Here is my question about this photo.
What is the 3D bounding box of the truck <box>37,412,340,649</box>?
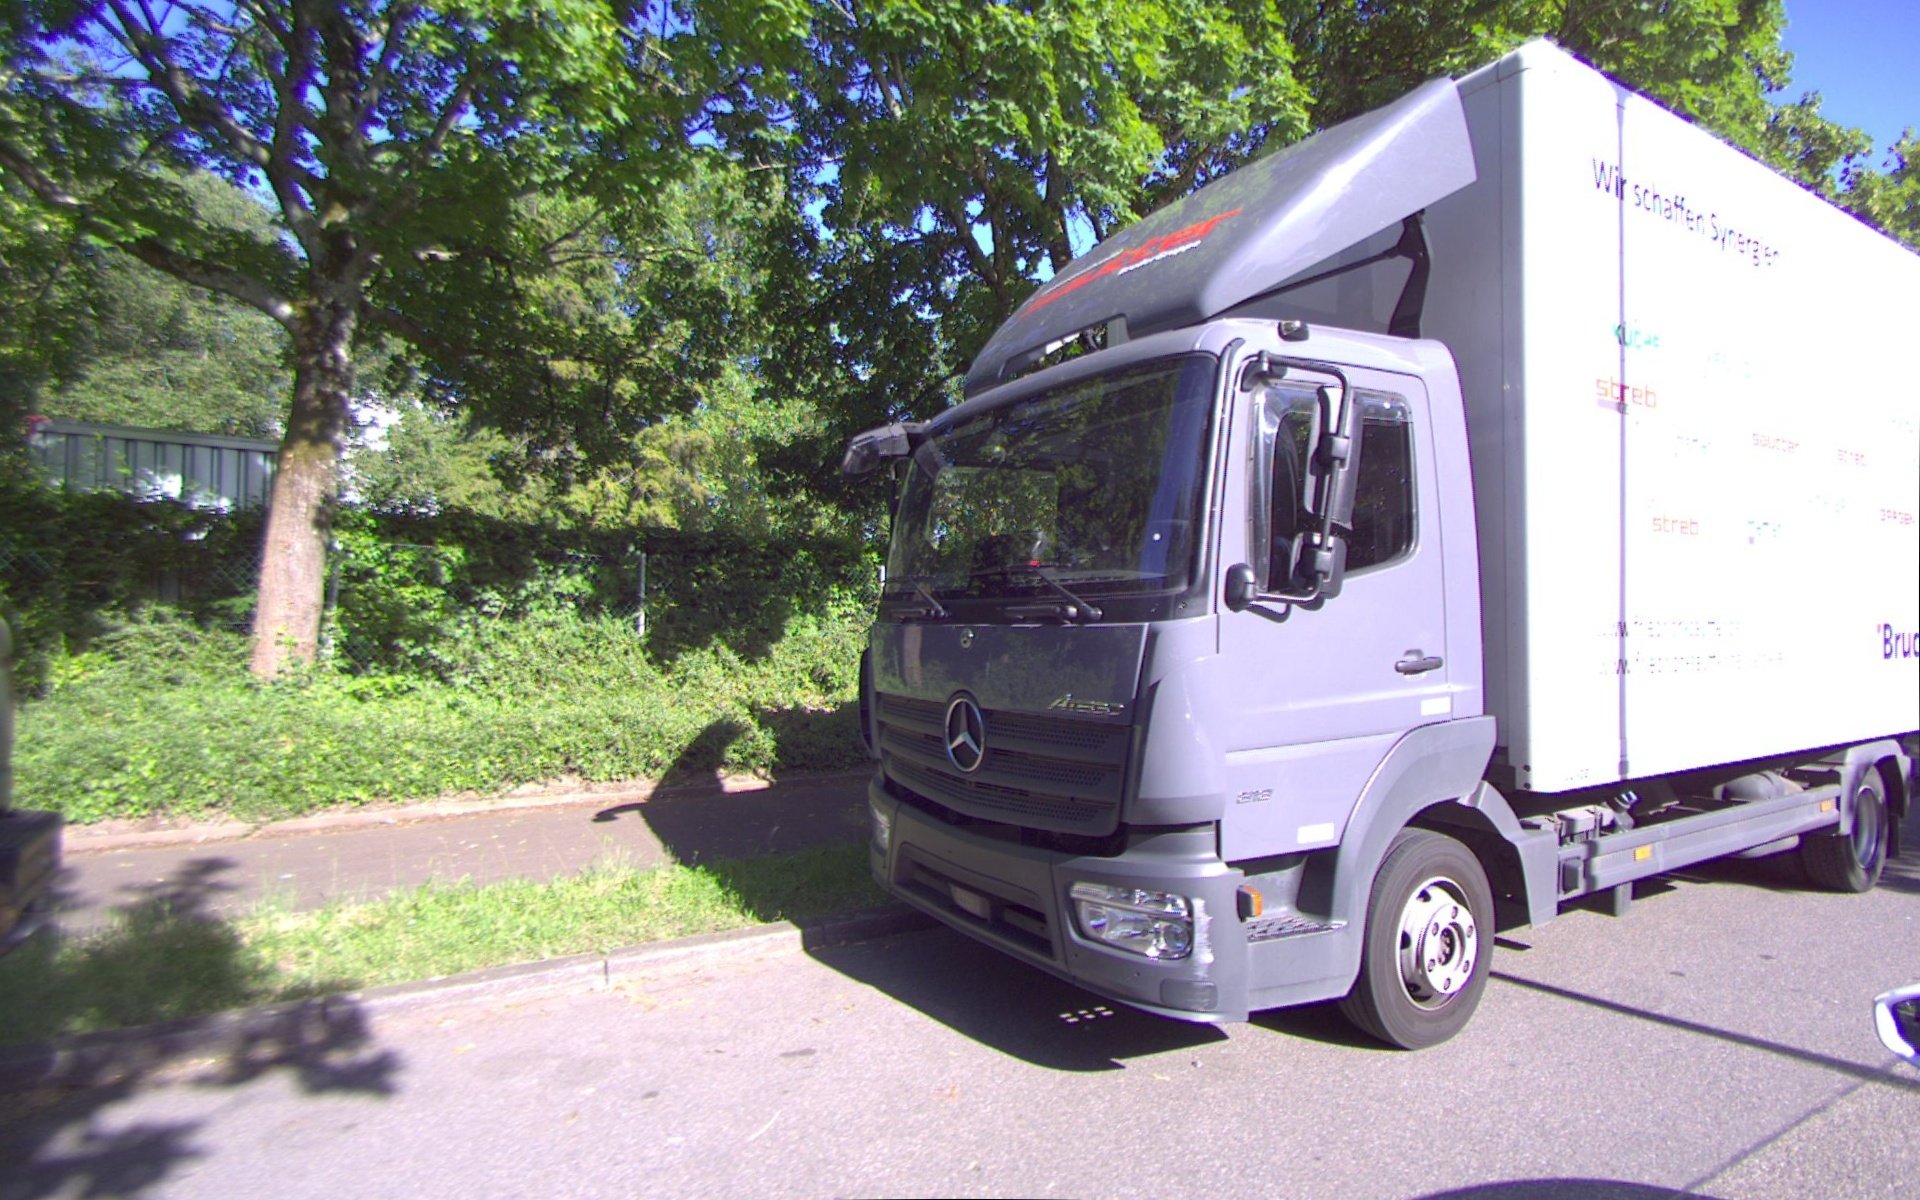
[{"bbox_3d":[-8.075,-0.500,10.887,2.181,2.040,3.964,1,-3,-33],"label":"truck"}]

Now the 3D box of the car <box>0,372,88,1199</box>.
[{"bbox_3d":[-5.002,0.461,0.574,6.514,2.123,2.107,1,-1,-34],"label":"car"}]

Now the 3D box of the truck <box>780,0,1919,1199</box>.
[{"bbox_3d":[3.214,-0.190,5.950,8.012,3.689,2.719,1,-1,-33],"label":"truck"}]
